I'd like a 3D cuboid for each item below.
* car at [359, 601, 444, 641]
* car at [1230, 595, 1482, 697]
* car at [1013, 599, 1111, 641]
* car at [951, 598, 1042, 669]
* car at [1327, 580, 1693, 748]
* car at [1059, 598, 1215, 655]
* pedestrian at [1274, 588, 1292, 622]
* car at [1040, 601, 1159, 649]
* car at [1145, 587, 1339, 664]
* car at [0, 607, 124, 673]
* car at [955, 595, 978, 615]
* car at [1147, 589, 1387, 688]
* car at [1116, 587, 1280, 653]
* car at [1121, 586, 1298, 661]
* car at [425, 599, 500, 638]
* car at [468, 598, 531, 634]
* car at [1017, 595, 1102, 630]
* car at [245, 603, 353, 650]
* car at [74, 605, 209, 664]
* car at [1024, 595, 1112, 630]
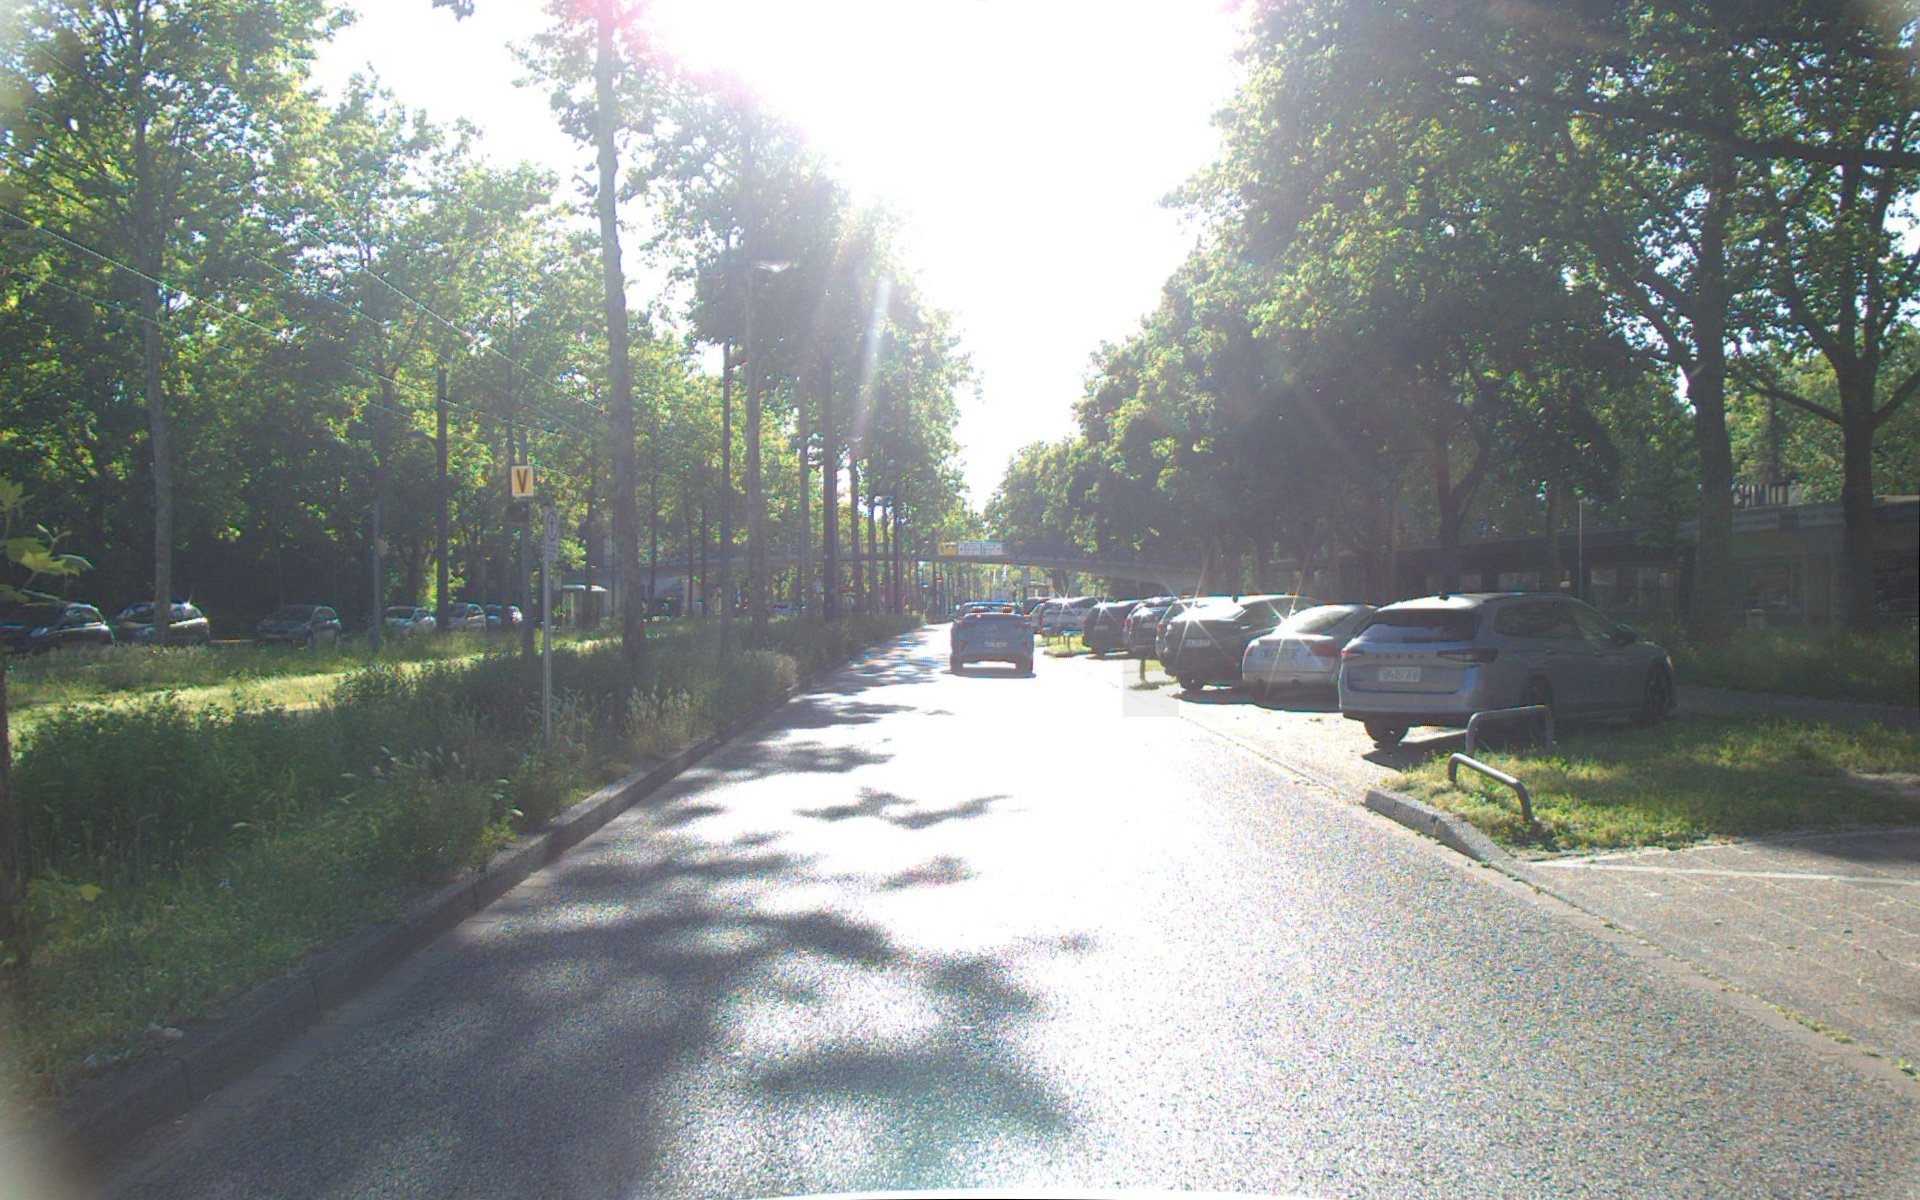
[{"bbox_3d":[-22.552,0.838,66.879,1.952,1.478,4.000,2,0,1],"label":"car"},{"bbox_3d":[6.029,0.644,24.885,4.298,1.320,1.664,-2,0,-45],"label":"car"},{"bbox_3d":[4.484,0.845,72.111,1.823,1.710,4.585,-3,-2,41],"label":"car"},{"bbox_3d":[0.779,0.700,36.661,1.883,1.436,4.000,0,0,0],"label":"car"},{"bbox_3d":[5.876,0.581,17.376,4.461,1.469,1.826,-2,0,-45],"label":"car"},{"bbox_3d":[4.965,0.710,45.953,1.945,1.484,4.595,-1,0,43],"label":"car"},{"bbox_3d":[19.493,0.312,99.791,0.814,2.049,0.739,0,0,-41],"label":"pedestrian"},{"bbox_3d":[5.218,0.899,61.457,4.587,1.710,1.827,1,0,-44],"label":"car"},{"bbox_3d":[6.063,0.529,35.276,1.888,1.475,4.431,-3,-1,44],"label":"car"},{"bbox_3d":[-22.444,0.944,40.879,1.611,1.478,3.664,2,0,1],"label":"car"},{"bbox_3d":[0.492,0.374,131.138,1.811,1.562,3.866,0,0,0],"label":"car"},{"bbox_3d":[5.195,0.591,27.636,4.298,1.449,1.826,-2,0,-45],"label":"car"},{"bbox_3d":[6.224,0.484,42.928,4.590,1.597,1.826,-1,0,-45],"label":"car"},{"bbox_3d":[5.954,0.528,39.120,1.825,1.597,4.593,-1,0,44],"label":"car"},{"bbox_3d":[-22.250,0.807,74.137,1.952,1.617,4.168,2,0,1],"label":"car"},{"bbox_3d":[-22.278,0.764,80.159,1.750,1.617,4.168,2,0,1],"label":"car"},{"bbox_3d":[5.263,0.660,86.804,4.587,1.799,1.827,1,0,-44],"label":"car"},{"bbox_3d":[-22.497,0.878,56.431,1.952,1.478,4.000,2,0,1],"label":"car"},{"bbox_3d":[-22.519,0.923,45.629,1.834,1.478,3.575,2,0,1],"label":"car"},{"bbox_3d":[5.478,0.642,83.341,4.587,1.710,1.827,1,0,-44],"label":"car"}]
